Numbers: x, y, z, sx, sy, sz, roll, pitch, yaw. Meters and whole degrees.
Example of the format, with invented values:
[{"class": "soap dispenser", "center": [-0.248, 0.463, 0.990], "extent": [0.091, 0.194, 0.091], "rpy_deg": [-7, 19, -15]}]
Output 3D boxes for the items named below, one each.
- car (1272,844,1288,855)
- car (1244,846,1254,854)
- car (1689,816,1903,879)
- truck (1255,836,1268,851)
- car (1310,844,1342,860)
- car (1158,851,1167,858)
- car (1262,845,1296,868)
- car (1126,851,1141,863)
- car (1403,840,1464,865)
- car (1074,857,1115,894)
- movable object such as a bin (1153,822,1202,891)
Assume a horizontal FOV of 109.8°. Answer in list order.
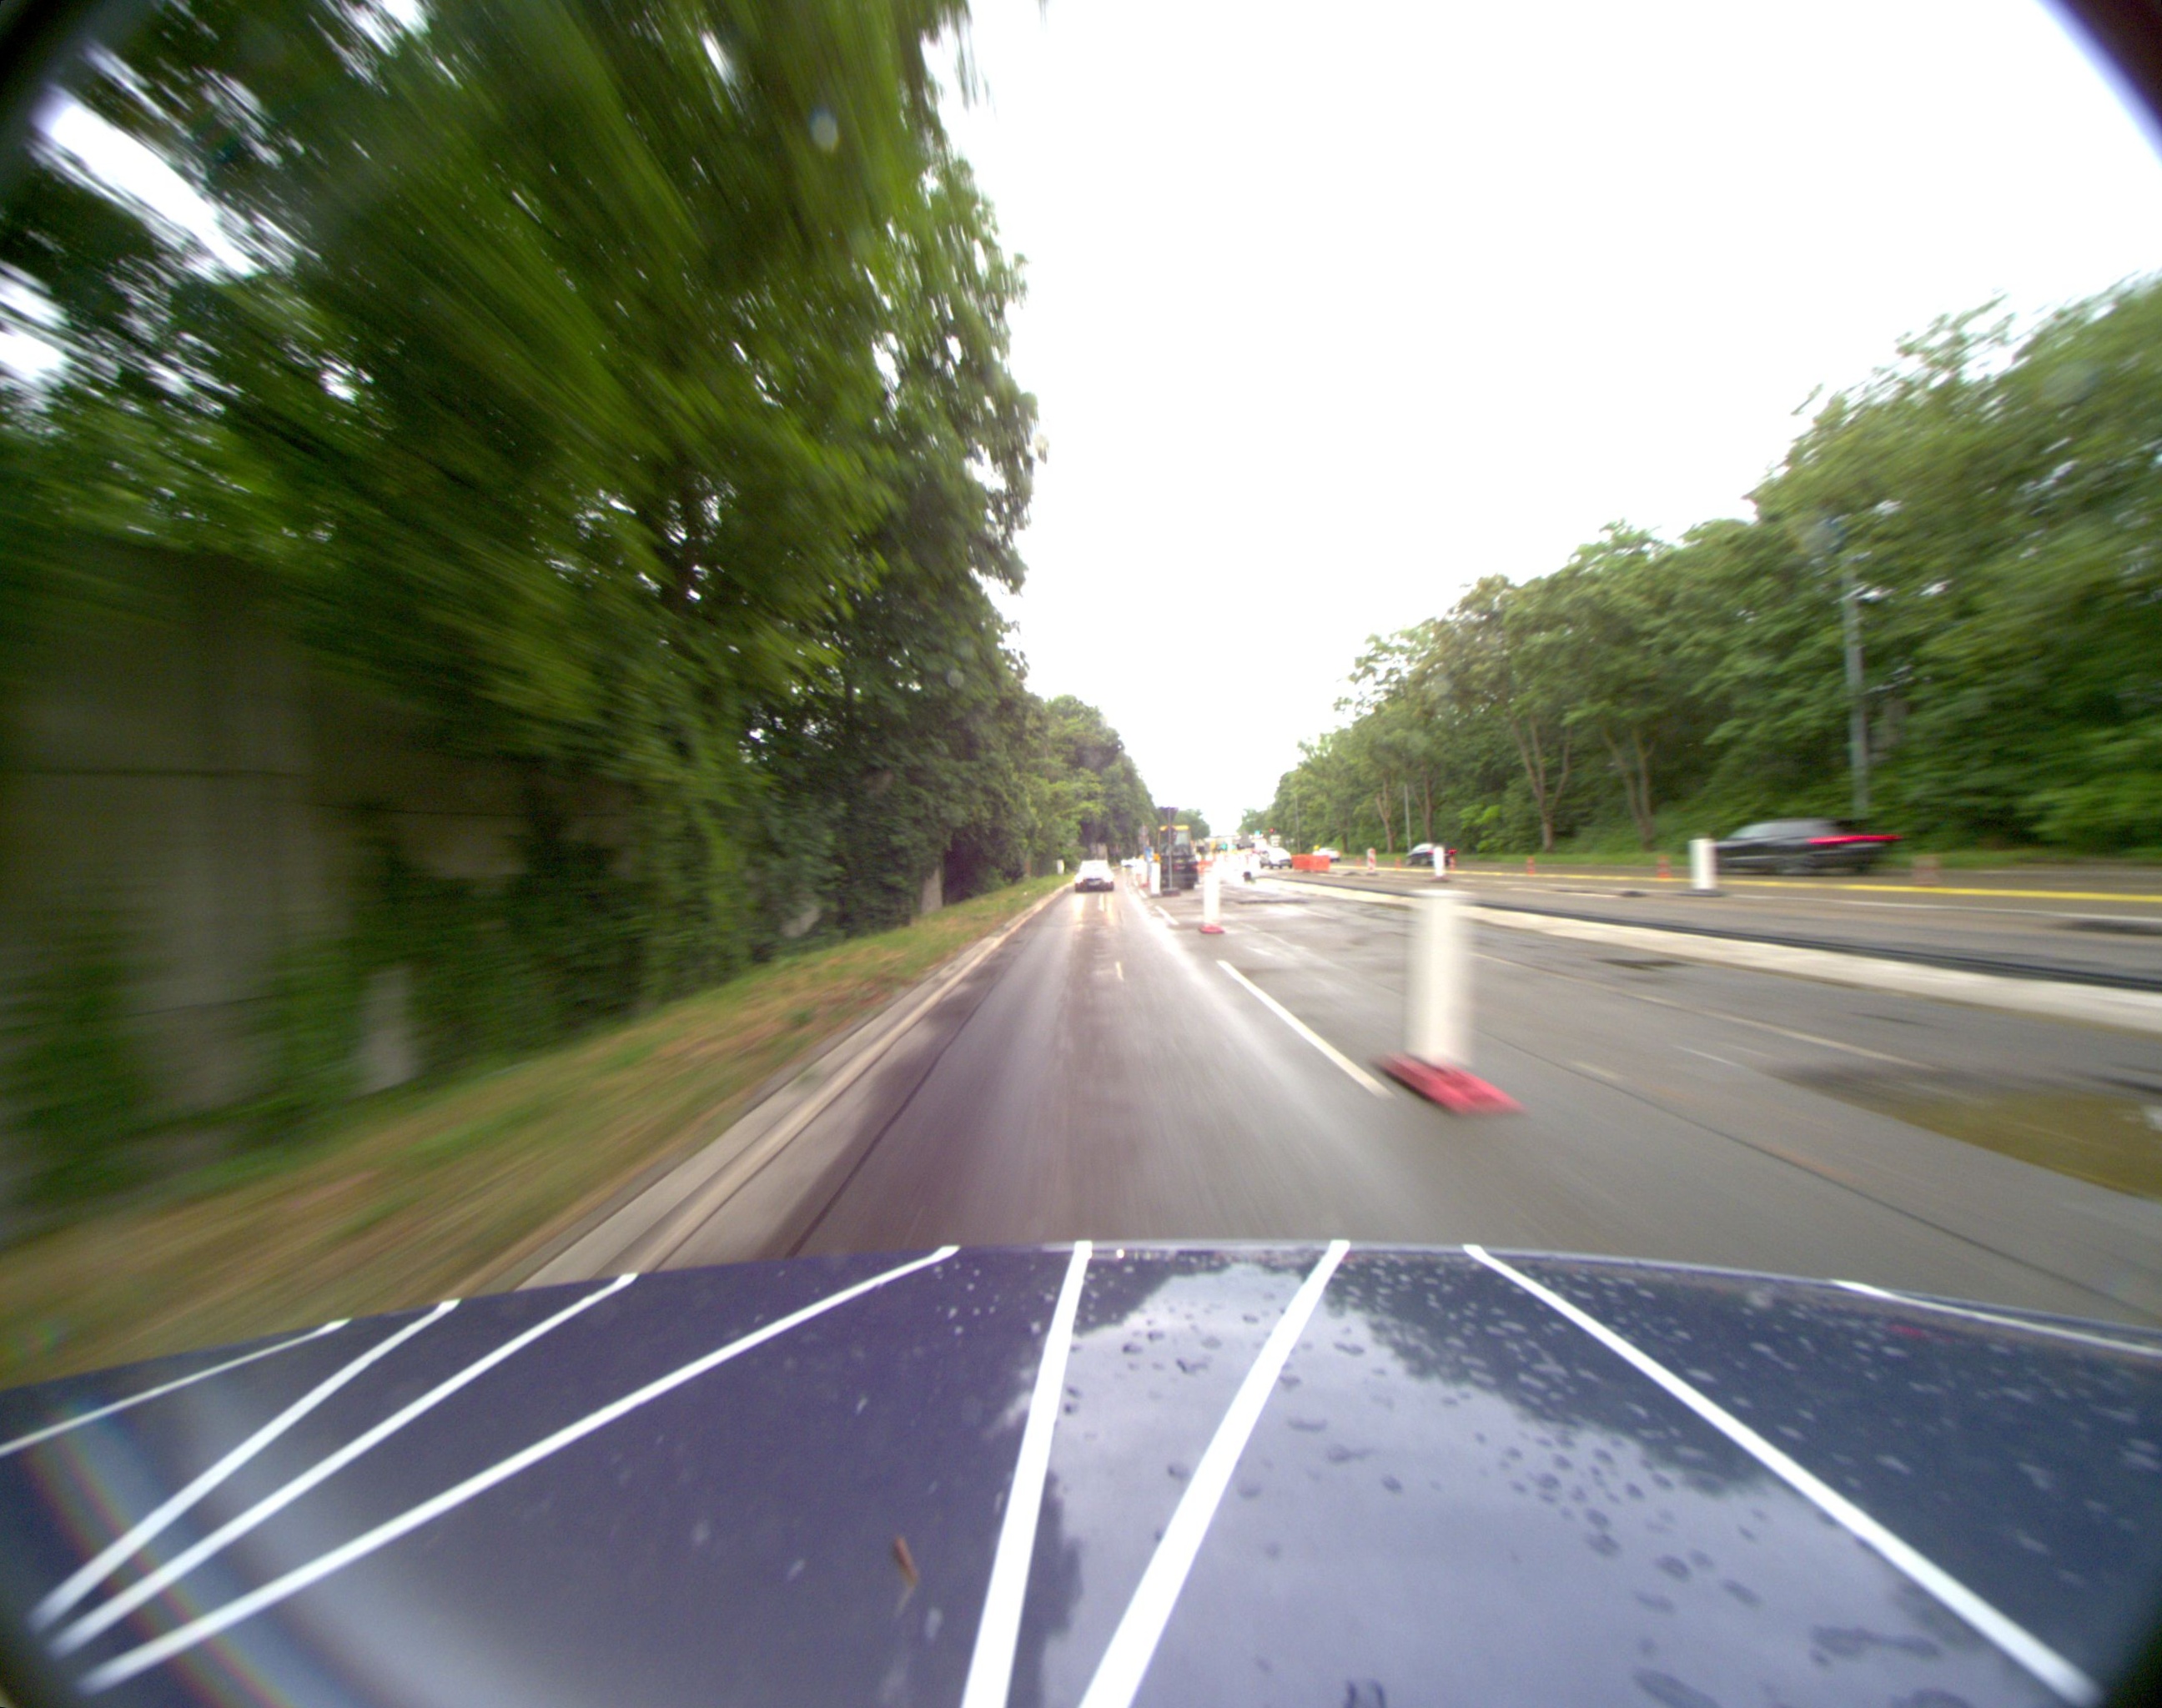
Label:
[{"class": "car", "center": [31.506, -0.669, 120.358], "extent": [1.678, 1.604, 4.769], "rpy_deg": [-2, 0, 6]}, {"class": "car", "center": [34.993, -0.736, 158.355], "extent": [1.678, 1.604, 3.771], "rpy_deg": [-2, 0, 8]}, {"class": "car", "center": [21.311, -0.181, 23.014], "extent": [1.781, 1.654, 4.915], "rpy_deg": [-2, 0, -1]}, {"class": "truck", "center": [49.027, -2.795, 206.381], "extent": [3.148, 3.809, 9.654], "rpy_deg": [-2, 1, 14]}, {"class": "car", "center": [24.394, -0.194, 75.756], "extent": [1.788, 1.418, 4.470], "rpy_deg": [-3, 0, 2]}, {"class": "car", "center": [18.667, 0.061, 174.539], "extent": [1.710, 1.434, 4.233], "rpy_deg": [-2, 1, 9]}, {"class": "car", "center": [15.421, 0.188, 59.360], "extent": [1.793, 1.574, 3.862], "rpy_deg": [-4, 0, 4]}, {"class": "car", "center": [7.601, 0.425, 109.581], "extent": [1.706, 1.681, 4.474], "rpy_deg": [-2, 1, 8]}, {"class": "car", "center": [22.992, -0.106, 49.786], "extent": [1.788, 1.444, 4.681], "rpy_deg": [-3, 0, 0]}, {"class": "car", "center": [0.645, 0.926, 34.895], "extent": [1.701, 1.477, 4.000], "rpy_deg": [-2, 1, 2]}, {"class": "movable object such as a bin", "center": [4.510, 0.106, 36.124], "extent": [1.808, 2.968, 5.246], "rpy_deg": [-3, 0, 3]}]
